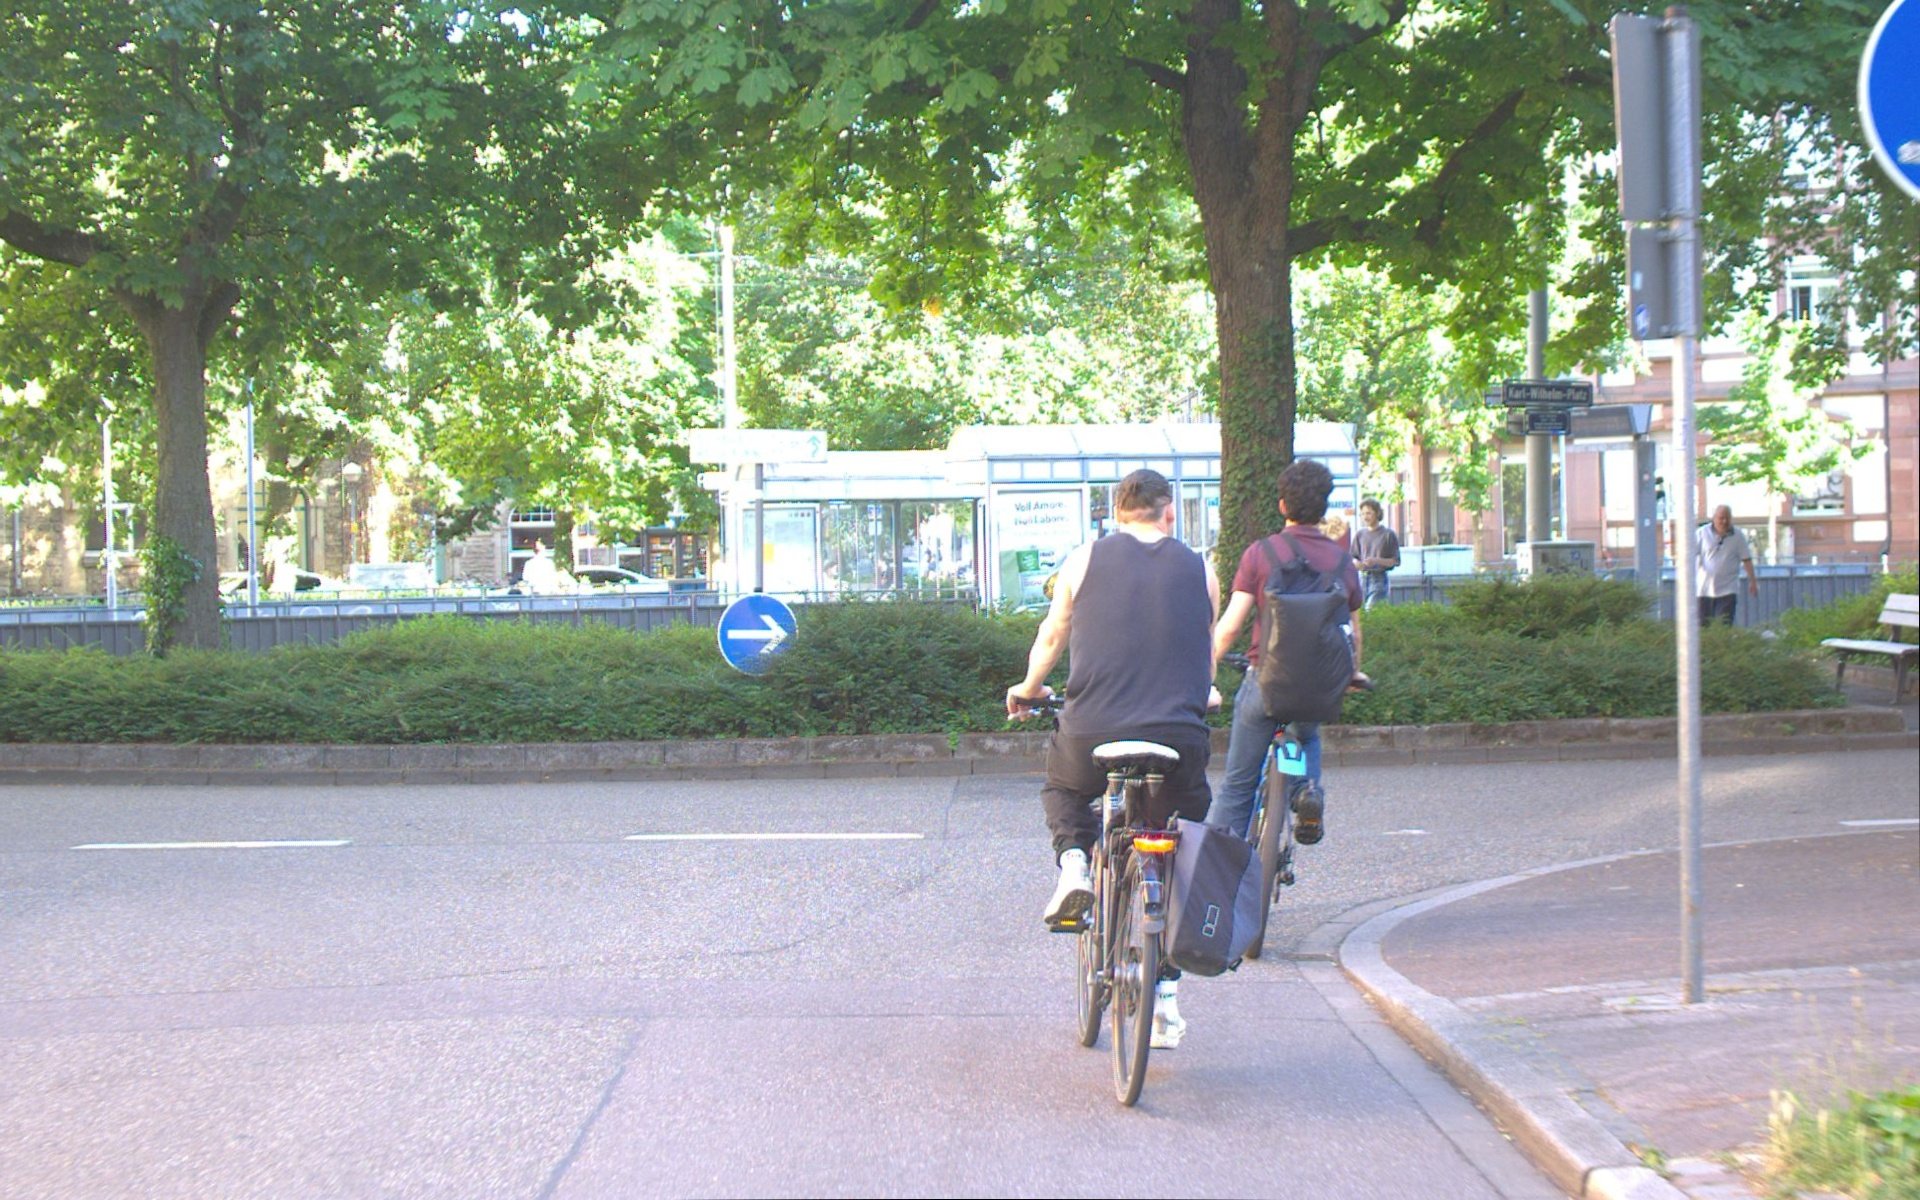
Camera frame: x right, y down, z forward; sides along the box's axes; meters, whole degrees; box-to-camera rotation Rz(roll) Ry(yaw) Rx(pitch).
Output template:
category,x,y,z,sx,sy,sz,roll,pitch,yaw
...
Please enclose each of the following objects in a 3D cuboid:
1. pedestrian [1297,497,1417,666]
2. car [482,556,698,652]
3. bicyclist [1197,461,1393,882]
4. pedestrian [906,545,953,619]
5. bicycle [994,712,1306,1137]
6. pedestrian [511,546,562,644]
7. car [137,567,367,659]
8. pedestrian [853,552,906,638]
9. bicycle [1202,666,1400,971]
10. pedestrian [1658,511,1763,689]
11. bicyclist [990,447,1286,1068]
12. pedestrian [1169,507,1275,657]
category,x,y,z,sx,sy,sz,roll,pitch,yaw
pedestrian,4.024,-0.190,34.795,0.898,1.678,0.818,-1,1,33
car,-7.697,0.070,71.450,3.986,1.864,2.000,-2,1,-26
bicyclist,1.247,0.260,12.952,0.671,1.509,1.069,-1,0,4
pedestrian,-0.679,-0.402,77.090,1.000,1.625,1.064,-1,1,-2
bicycle,0.500,0.868,9.874,0.737,1.008,2.061,1,0,-1
pedestrian,-7.352,-0.093,59.722,0.701,1.689,0.671,1,1,-22
car,-13.828,0.229,67.275,3.938,1.673,1.953,-2,1,-44
pedestrian,-1.462,-0.100,62.305,0.809,1.538,0.821,1,1,-12
bicycle,1.280,0.796,13.200,0.674,1.050,2.061,-1,-1,4
pedestrian,7.238,-0.003,33.190,0.916,1.678,0.780,-1,1,9
bicyclist,0.489,0.424,9.830,0.752,1.676,0.913,-1,1,-1
pedestrian,3.367,-0.236,44.222,1.016,1.891,0.912,-1,1,-22
